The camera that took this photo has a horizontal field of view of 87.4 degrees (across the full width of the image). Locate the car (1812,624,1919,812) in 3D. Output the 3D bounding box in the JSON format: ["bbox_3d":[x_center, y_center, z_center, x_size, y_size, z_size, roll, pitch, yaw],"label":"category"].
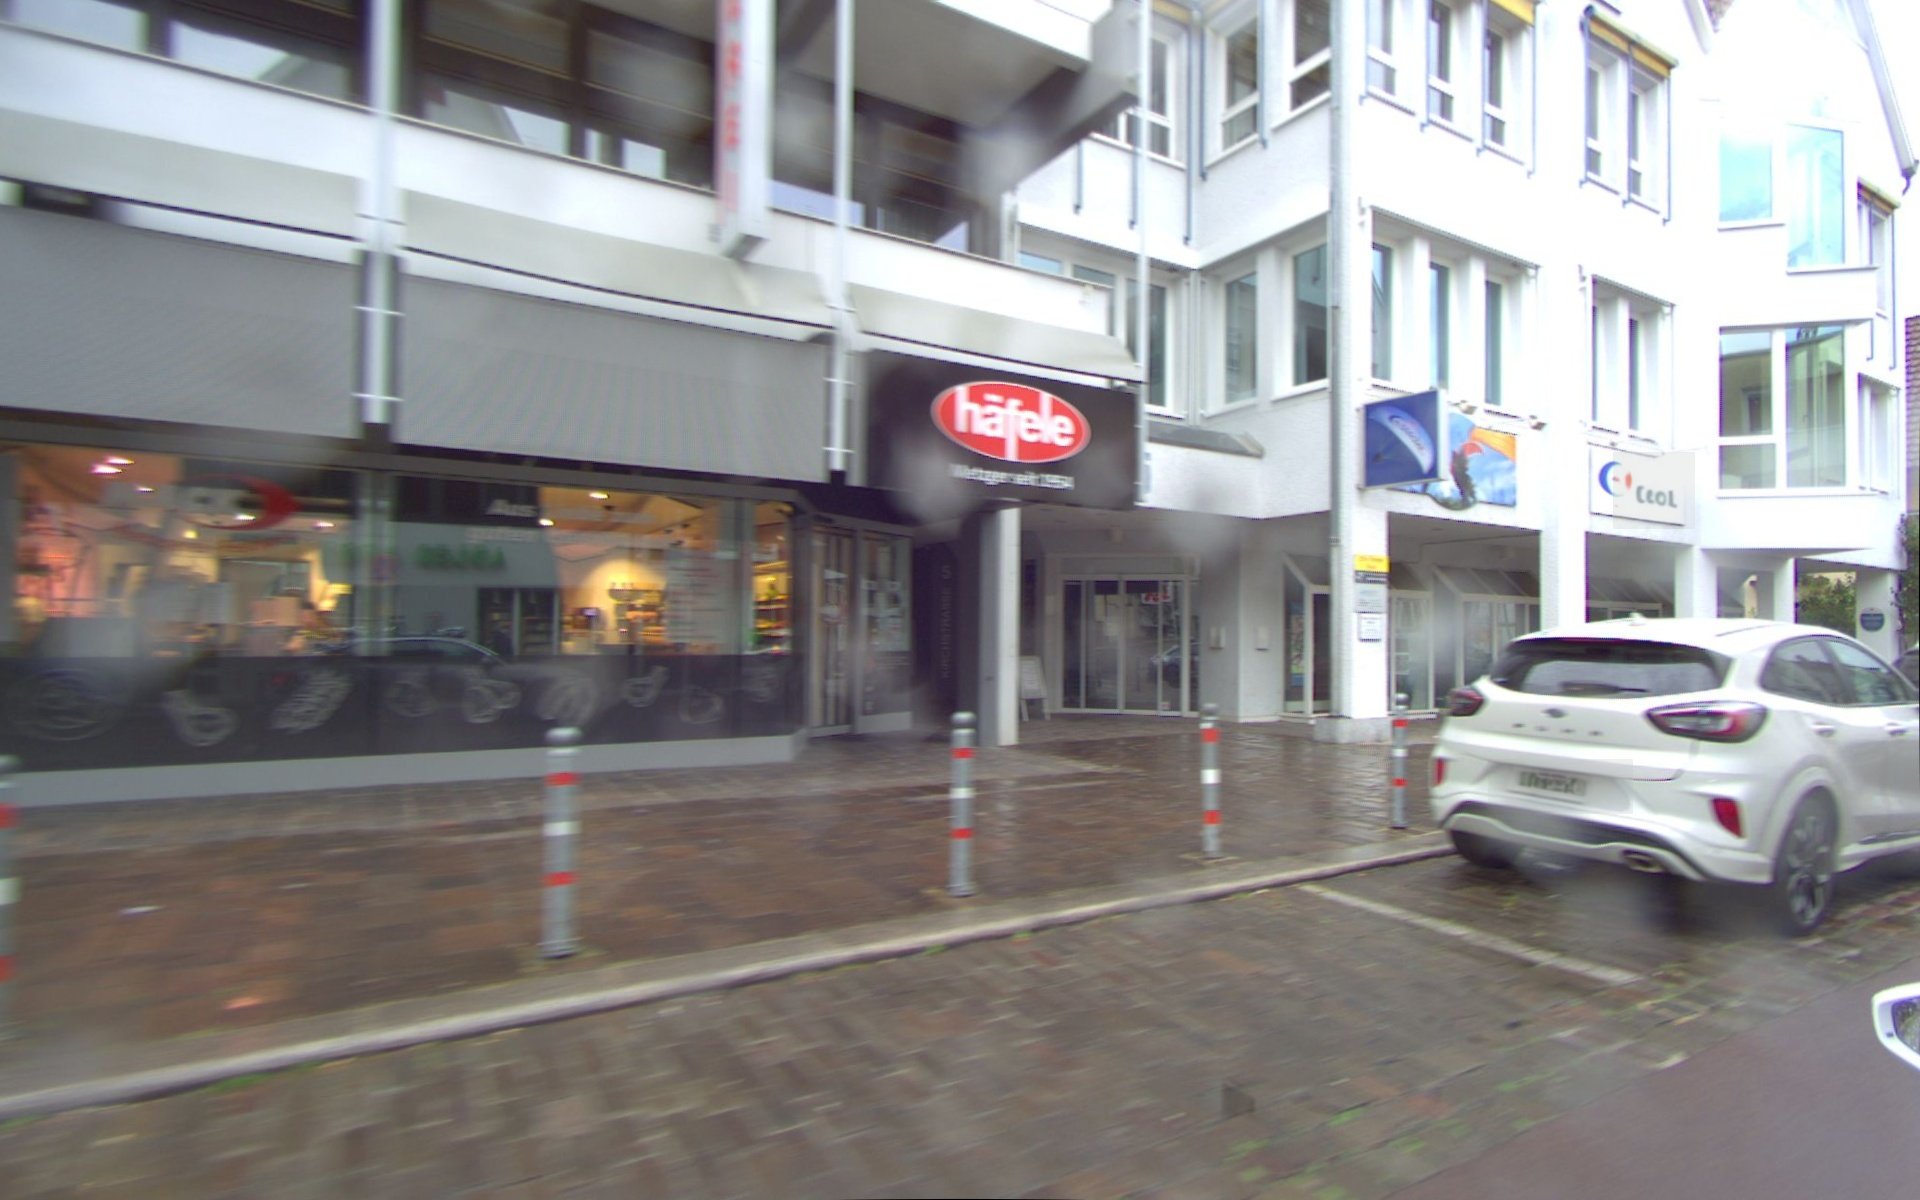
[{"bbox_3d":[9.929,1.033,9.159,4.707,1.518,1.822,2,-3,-30],"label":"car"}]

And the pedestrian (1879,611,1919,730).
[{"bbox_3d":[15.329,1.111,15.794,1.103,1.830,1.030,2,-1,-31],"label":"pedestrian"}]

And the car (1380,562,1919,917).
[{"bbox_3d":[4.661,0.748,6.267,3.956,1.571,1.782,4,-2,-32],"label":"car"}]
